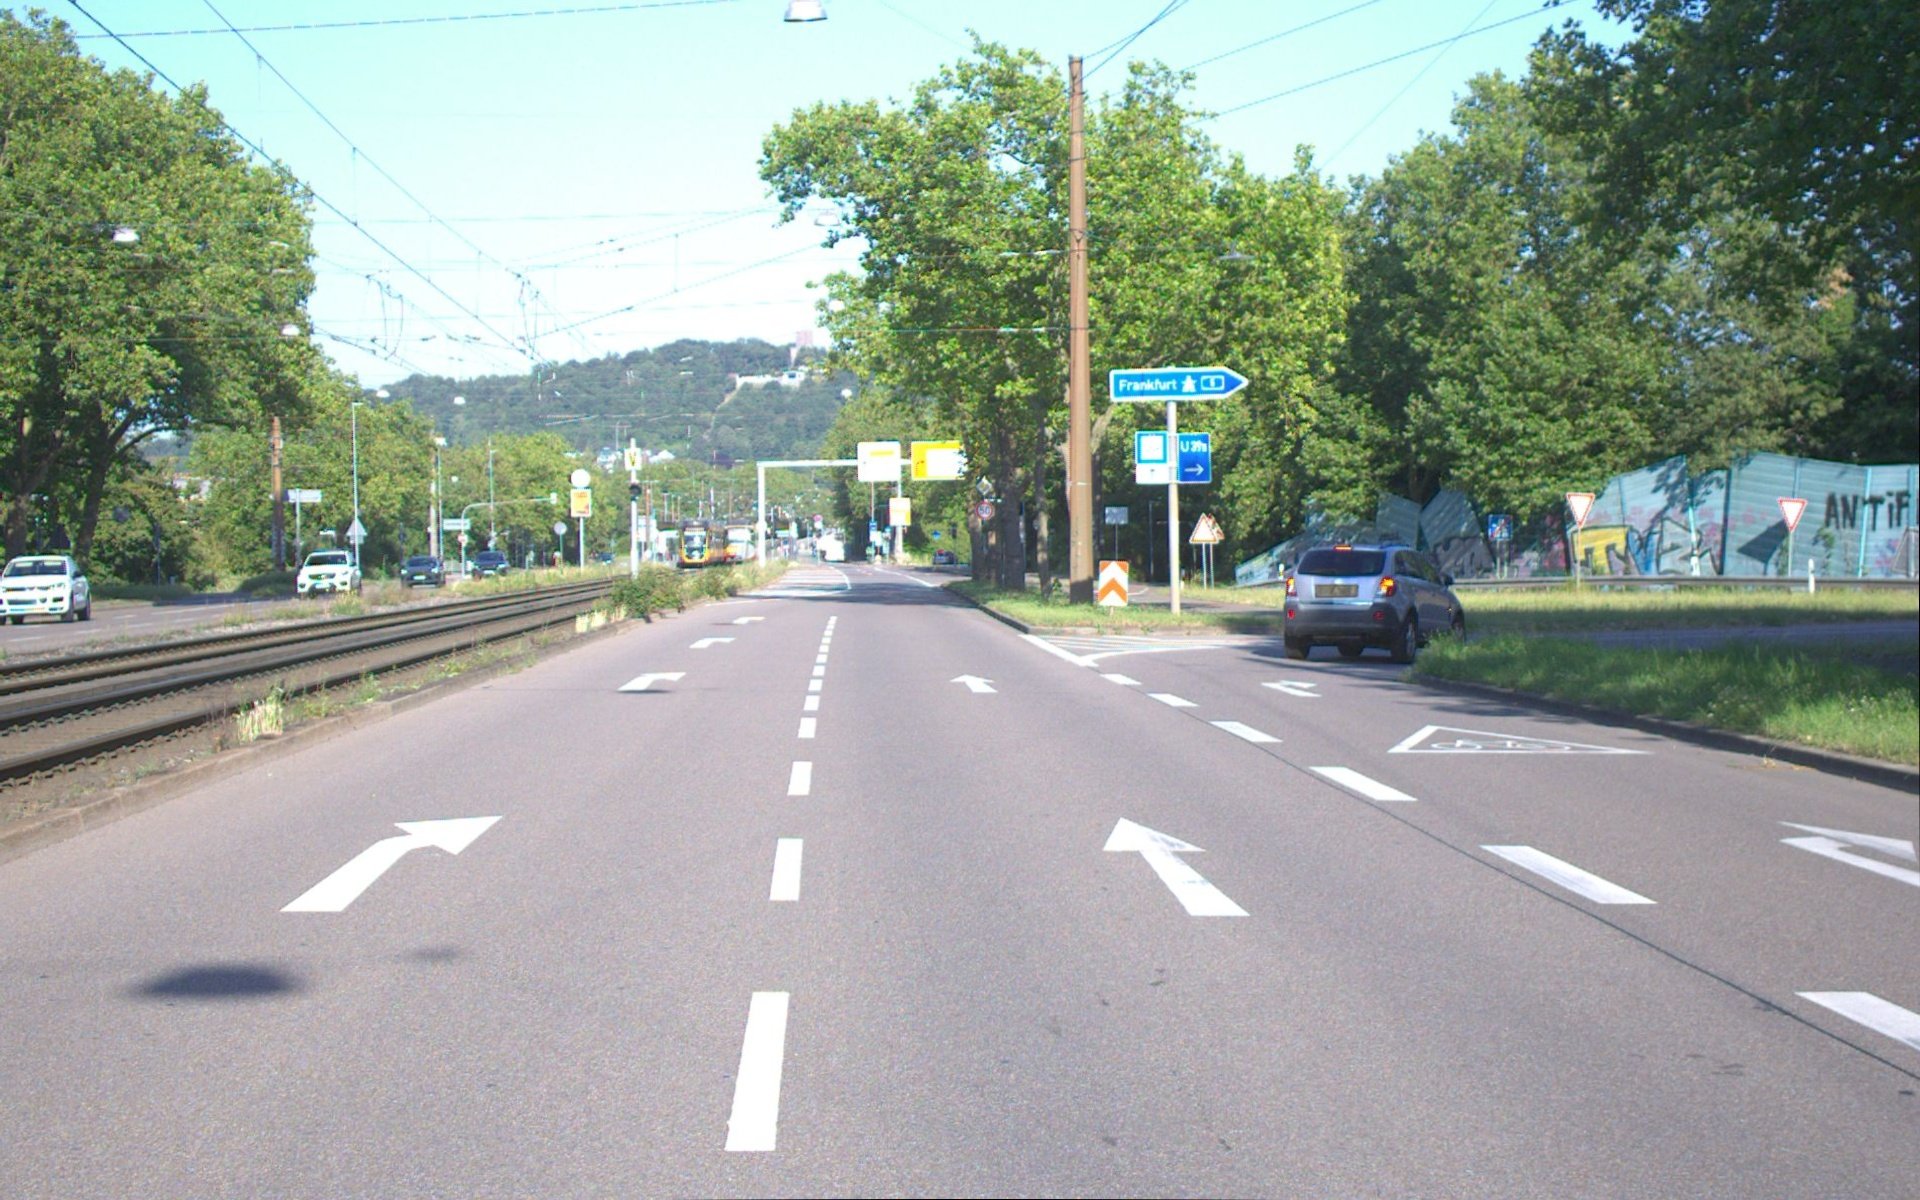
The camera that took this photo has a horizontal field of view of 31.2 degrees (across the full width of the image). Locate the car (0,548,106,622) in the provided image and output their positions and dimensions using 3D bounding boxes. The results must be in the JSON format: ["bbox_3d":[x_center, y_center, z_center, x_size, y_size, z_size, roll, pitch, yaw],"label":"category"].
[{"bbox_3d":[-22.814,-0.391,86.317,1.846,1.728,4.933,-3,1,-5],"label":"car"}]

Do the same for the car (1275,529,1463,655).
[{"bbox_3d":[6.044,-0.134,50.442,1.811,1.767,3.858,1,1,21],"label":"car"}]

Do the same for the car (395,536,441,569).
[{"bbox_3d":[-25.399,-2.217,161.211,1.710,1.463,4.348,-3,1,-4],"label":"car"}]

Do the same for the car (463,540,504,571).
[{"bbox_3d":[-27.128,-2.546,195.950,1.898,1.688,4.942,-2,1,-4],"label":"car"}]

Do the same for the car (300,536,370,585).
[{"bbox_3d":[-22.904,-1.449,126.200,1.962,1.701,4.945,-3,1,-4],"label":"car"}]

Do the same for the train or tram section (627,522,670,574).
[{"bbox_3d":[-23.864,-3.975,263.900,2.804,3.889,12.334,1,1,-3],"label":"train or tram section"}]
